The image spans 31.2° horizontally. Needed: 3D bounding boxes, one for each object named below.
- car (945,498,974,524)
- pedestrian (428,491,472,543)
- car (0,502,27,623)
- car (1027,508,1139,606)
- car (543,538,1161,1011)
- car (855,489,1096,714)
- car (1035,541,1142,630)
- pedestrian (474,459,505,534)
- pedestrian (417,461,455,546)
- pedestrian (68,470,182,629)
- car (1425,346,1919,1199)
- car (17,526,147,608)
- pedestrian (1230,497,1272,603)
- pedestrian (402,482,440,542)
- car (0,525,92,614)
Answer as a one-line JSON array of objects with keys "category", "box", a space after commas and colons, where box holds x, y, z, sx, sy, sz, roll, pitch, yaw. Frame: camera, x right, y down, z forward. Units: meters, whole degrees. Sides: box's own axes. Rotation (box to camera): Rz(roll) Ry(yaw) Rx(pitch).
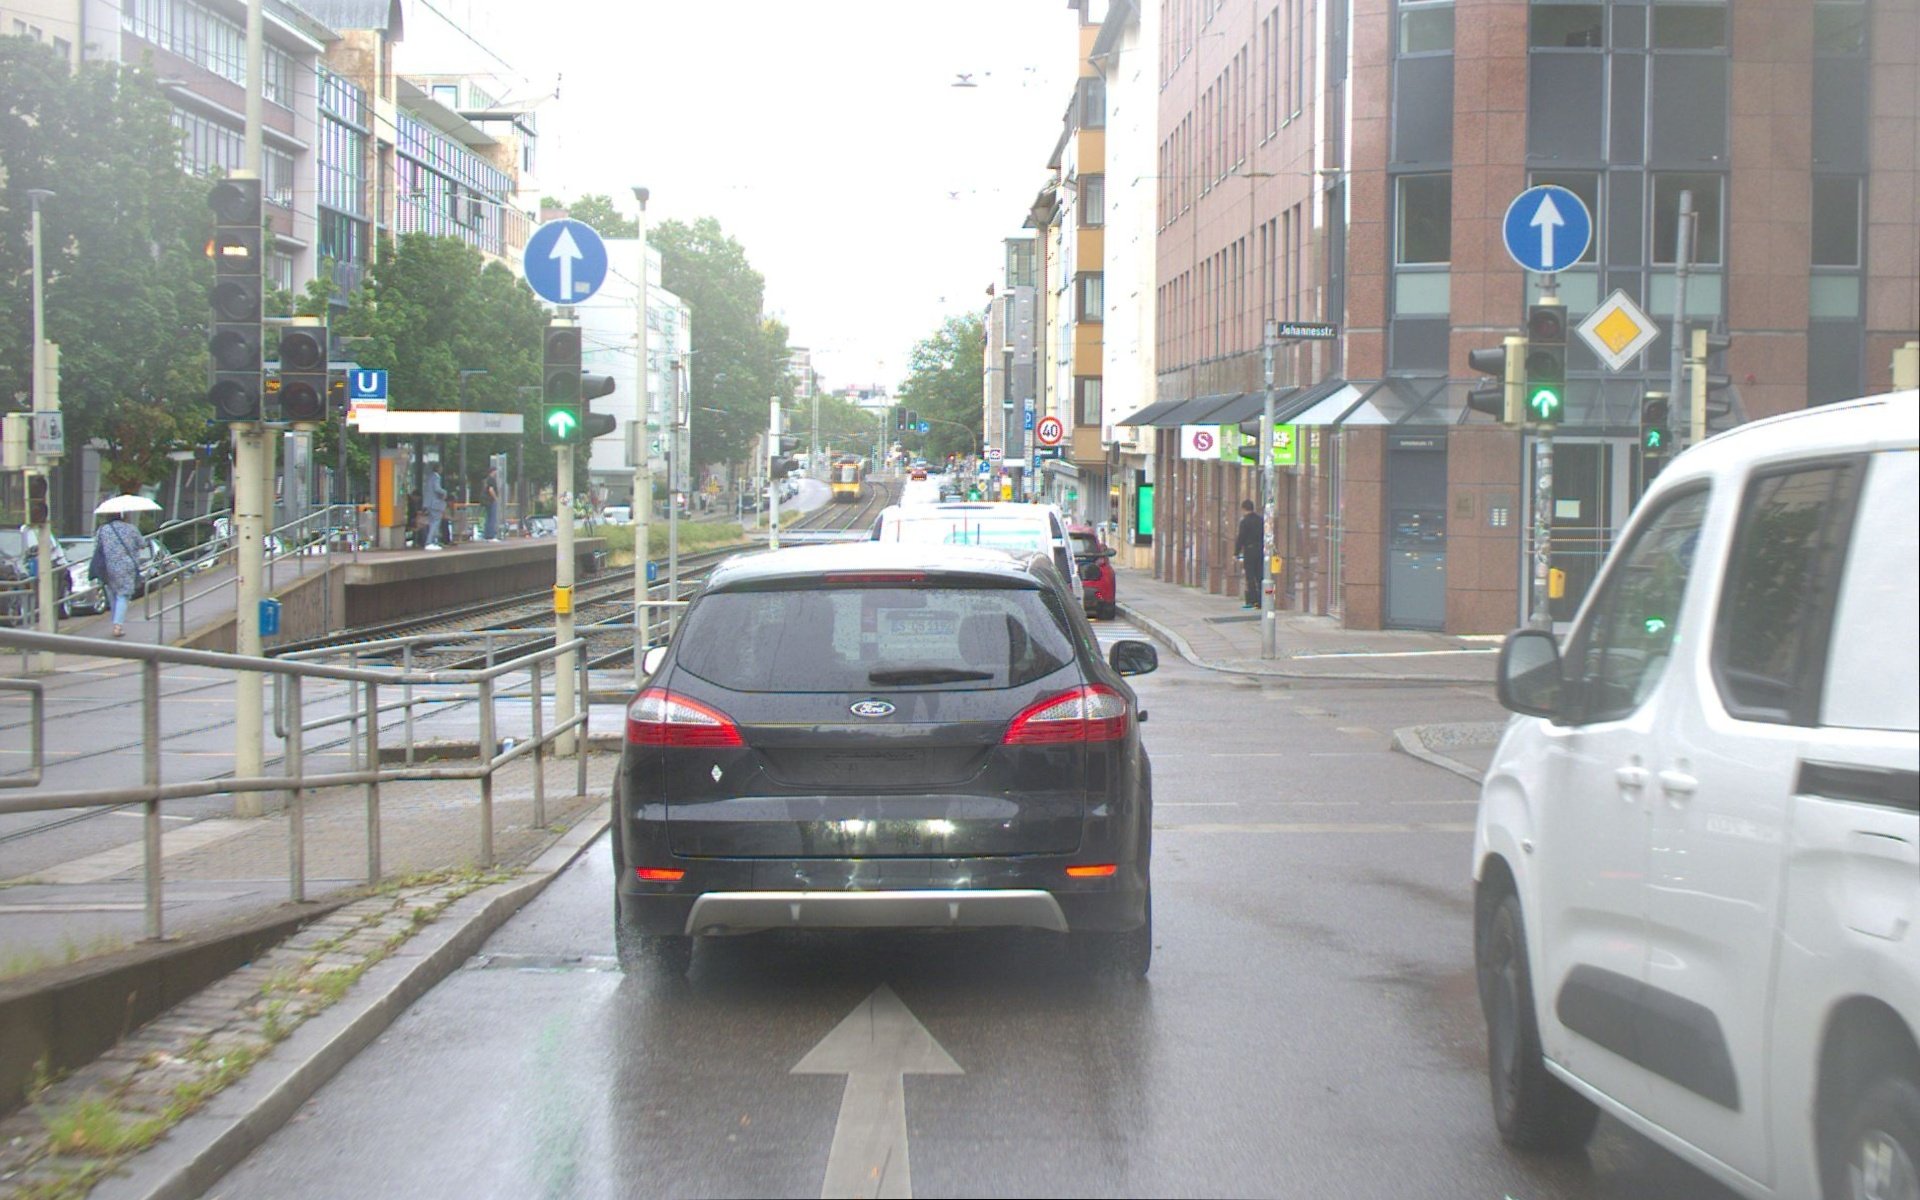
[{"category": "car", "box": [-0.014, -5.857, 226.769, 1.906, 1.627, 4.574, 0, 1, 0]}, {"category": "pedestrian", "box": [-11.035, -1.803, 74.386, 0.892, 1.119, 0.850, -1, 1, -11]}, {"category": "car", "box": [-15.653, -0.563, 52.509, 1.802, 1.852, 4.381, 0, 1, -3]}, {"category": "car", "box": [1.965, -0.709, 55.777, 1.698, 1.474, 3.867, -2, 1, 1]}, {"category": "car", "box": [-0.335, 0.512, 12.344, 1.906, 1.457, 3.445, 0, 1, 0]}, {"category": "car", "box": [0.217, -0.022, 30.748, 1.907, 1.858, 4.573, 0, 1, 3]}, {"category": "car", "box": [2.240, -0.280, 60.753, 1.698, 1.457, 3.867, -2, 1, 0]}, {"category": "pedestrian", "box": [-11.376, -2.512, 83.219, 0.655, 1.795, 0.850, 0, 1, -3]}, {"category": "pedestrian", "box": [-10.633, -1.961, 69.797, 0.655, 1.705, 0.850, 0, 1, -3]}, {"category": "pedestrian", "box": [-10.806, -0.655, 44.540, 1.116, 2.007, 1.383, -1, 1, -1]}, {"category": "car", "box": [2.297, 0.495, 6.872, 1.906, 1.800, 4.778, 0, 1, -2]}, {"category": "car", "box": [-16.000, -0.631, 62.804, 1.568, 1.431, 3.980, 0, 1, -4]}, {"category": "pedestrian", "box": [4.605, -0.794, 54.387, 0.601, 1.653, 0.625, -1, 1, 0]}, {"category": "pedestrian", "box": [-11.299, -1.842, 72.094, 0.692, 1.245, 0.884, 0, 1, -3]}, {"category": "car", "box": [-16.076, -0.547, 58.291, 1.840, 1.431, 4.320, 0, 1, -4]}]
